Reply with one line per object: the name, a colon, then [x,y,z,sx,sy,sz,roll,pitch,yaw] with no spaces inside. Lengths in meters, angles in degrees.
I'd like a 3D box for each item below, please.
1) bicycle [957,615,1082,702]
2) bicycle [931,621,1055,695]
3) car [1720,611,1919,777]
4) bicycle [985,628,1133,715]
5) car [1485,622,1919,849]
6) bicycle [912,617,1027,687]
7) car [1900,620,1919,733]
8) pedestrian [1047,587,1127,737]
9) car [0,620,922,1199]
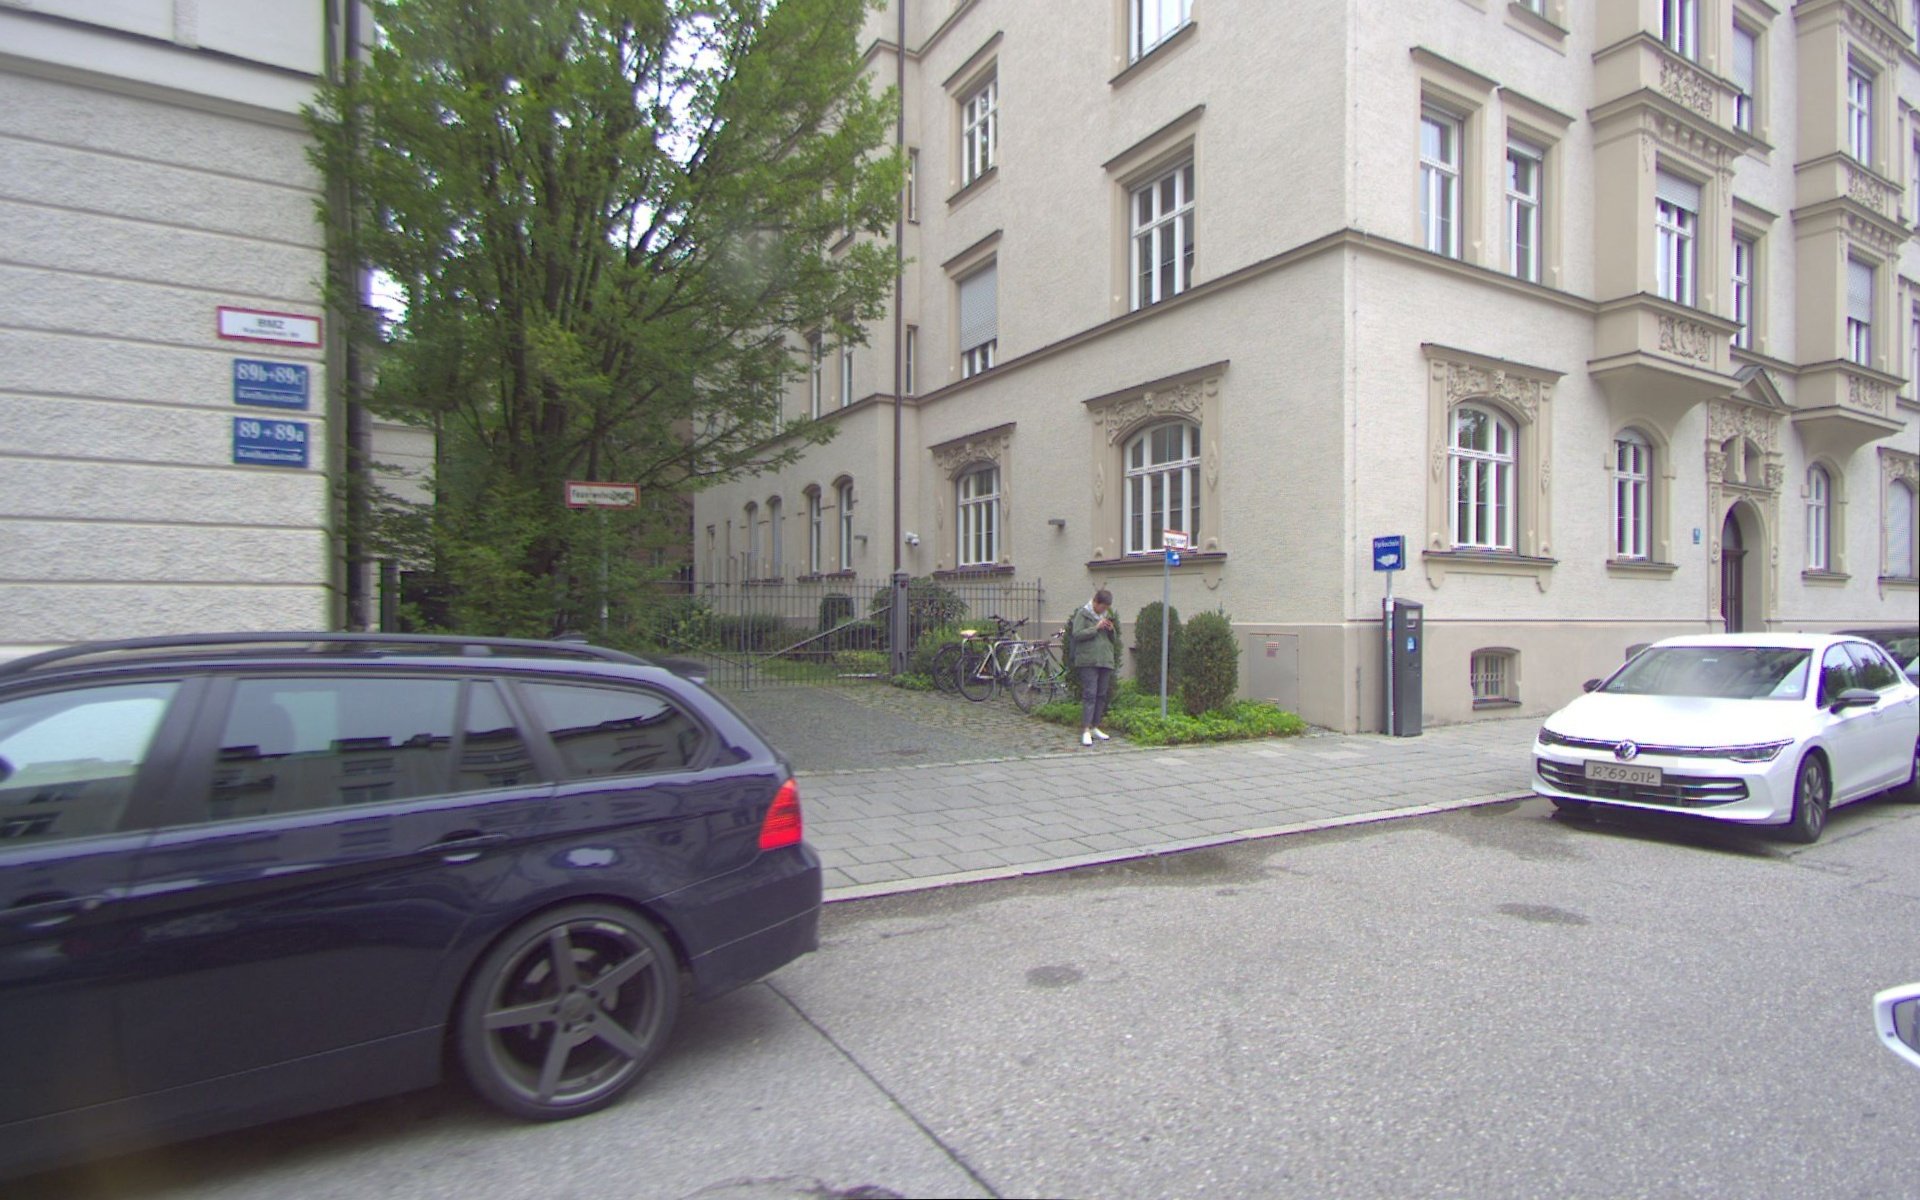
bicycle: [0.896,0.840,14.890,1.796,1.107,0.610,-3,4,-28]
bicycle: [0.526,0.873,15.665,1.883,1.017,0.582,-2,2,-28]
car: [10.354,0.918,11.046,4.337,1.538,1.761,0,-3,-33]
bicycle: [1.373,0.949,13.810,1.983,0.973,0.691,-3,4,-28]
car: [6.505,0.934,8.463,4.197,1.453,1.827,0,-2,-32]
bicycle: [0.164,0.818,16.336,1.809,1.011,0.551,-2,1,-28]
car: [14.613,0.965,13.469,4.502,1.453,1.824,0,-2,-32]
pedestrian: [1.453,0.691,11.513,0.624,1.648,0.669,0,0,-33]
car: [-2.420,0.799,3.056,4.317,1.431,1.778,0,0,-31]
